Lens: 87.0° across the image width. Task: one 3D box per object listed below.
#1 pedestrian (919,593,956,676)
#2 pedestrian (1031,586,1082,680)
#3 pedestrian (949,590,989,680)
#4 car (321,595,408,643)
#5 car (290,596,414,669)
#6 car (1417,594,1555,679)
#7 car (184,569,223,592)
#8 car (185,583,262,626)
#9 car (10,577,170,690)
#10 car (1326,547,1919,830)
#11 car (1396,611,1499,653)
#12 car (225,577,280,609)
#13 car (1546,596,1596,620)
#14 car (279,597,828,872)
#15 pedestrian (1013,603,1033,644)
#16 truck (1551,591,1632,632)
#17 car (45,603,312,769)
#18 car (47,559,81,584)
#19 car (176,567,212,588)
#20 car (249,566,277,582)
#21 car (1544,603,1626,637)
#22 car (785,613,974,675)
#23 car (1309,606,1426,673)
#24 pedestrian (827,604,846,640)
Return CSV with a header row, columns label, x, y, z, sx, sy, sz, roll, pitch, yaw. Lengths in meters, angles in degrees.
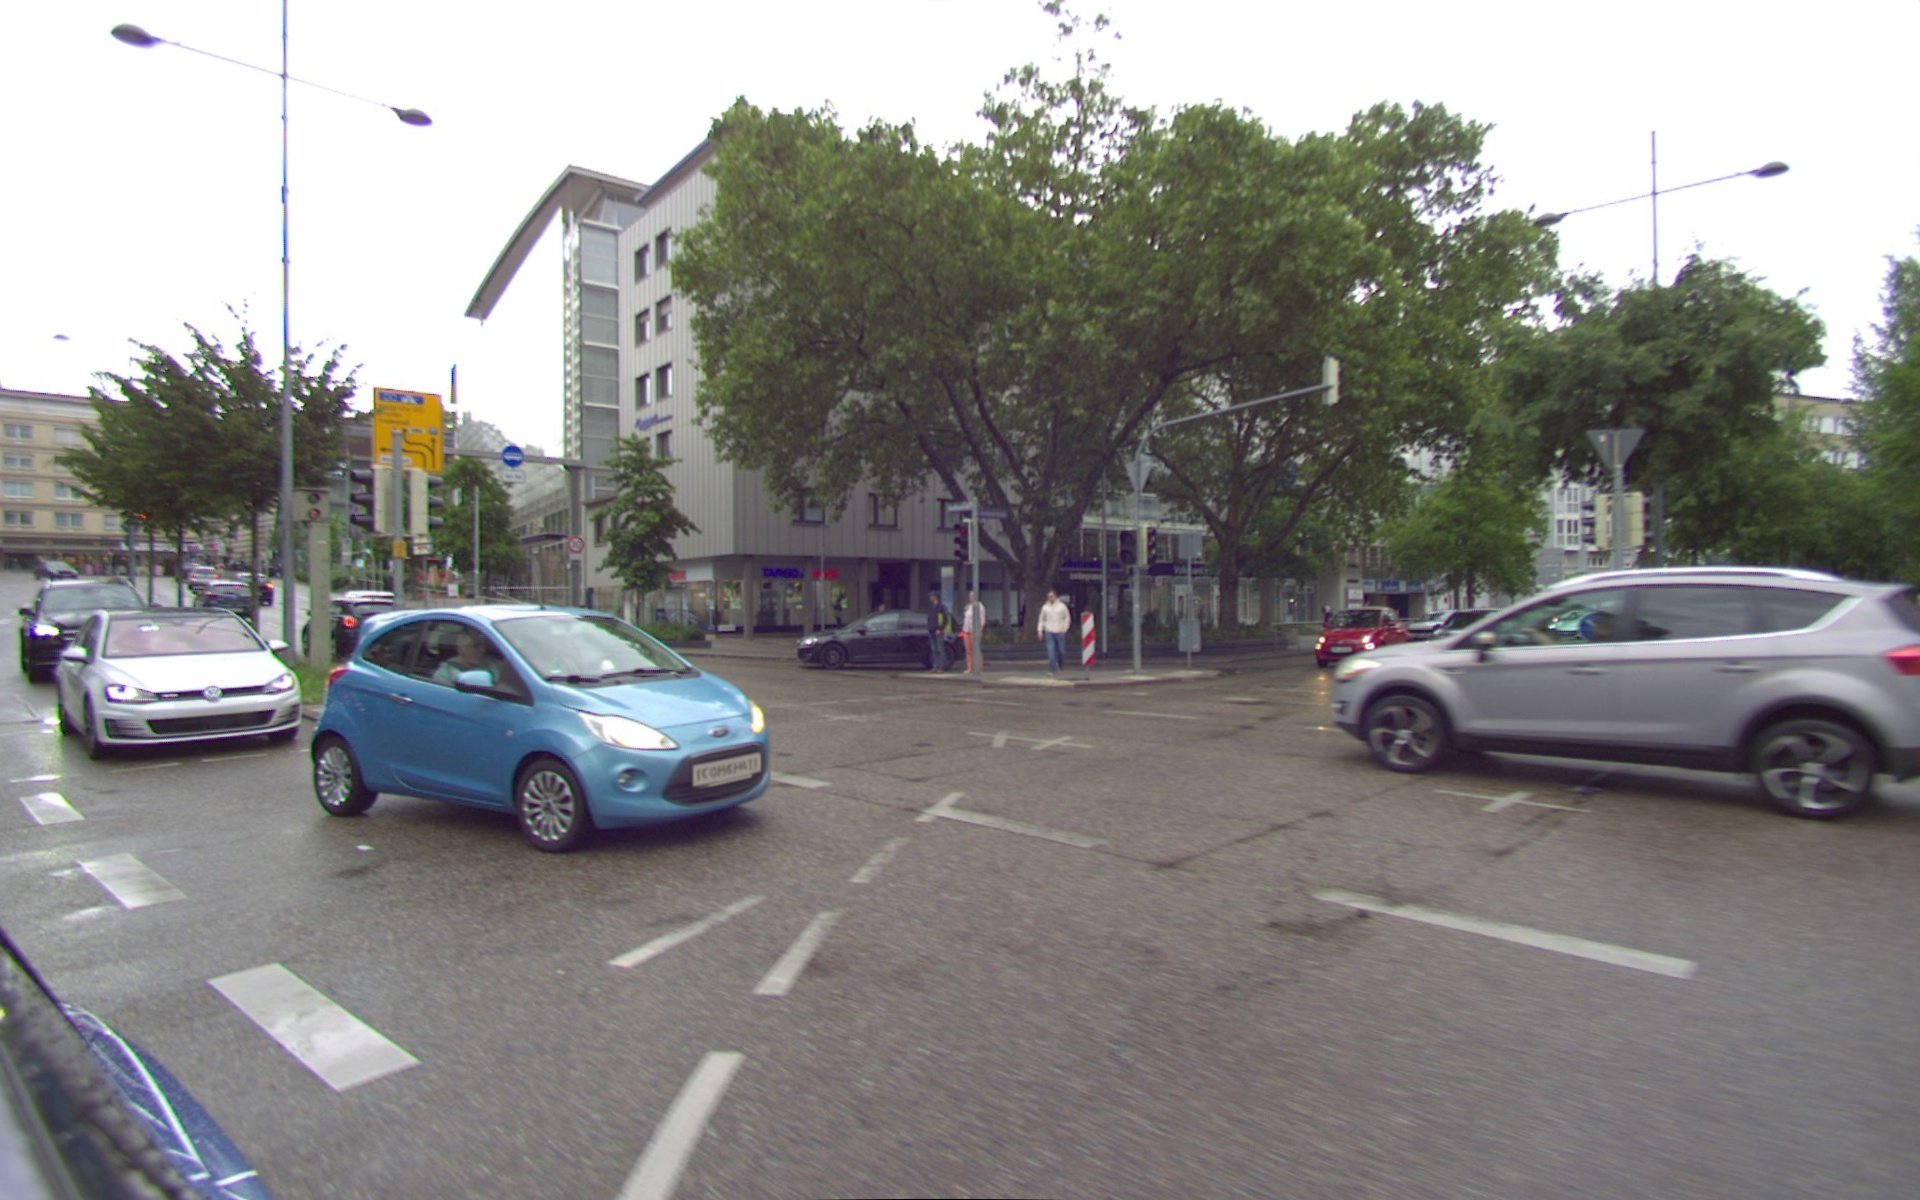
label,x,y,z,sx,sy,sz,roll,pitch,yaw
pedestrian,-0.499,0.754,22.074,0.677,1.777,0.406,-3,-2,44
pedestrian,2.029,0.681,21.211,0.821,1.921,0.855,-1,0,22
pedestrian,0.187,0.719,21.351,0.676,1.851,0.442,3,2,41
car,-19.902,0.626,33.763,1.652,1.527,3.646,2,-1,-44
car,-14.159,0.721,23.503,3.660,1.567,1.604,-1,-1,44
car,11.608,0.779,22.249,3.548,1.709,1.638,1,-2,-44
car,-50.054,-1.307,66.909,1.606,1.448,3.650,1,2,-44
car,-27.554,0.146,37.826,1.693,1.490,3.960,3,-1,-45
car,-17.041,0.520,19.725,1.971,1.790,4.889,-3,4,-45
car,5.406,0.575,8.086,4.312,1.749,1.806,-1,-1,45
car,18.261,1.152,37.866,3.935,1.475,1.868,0,-1,-37
car,-35.410,-0.322,50.636,1.599,1.503,3.882,3,-2,-45
car,51.640,0.675,85.552,3.745,1.762,1.923,-3,4,-28
car,-2.913,0.754,7.134,3.674,1.485,1.684,-1,-1,29
pedestrian,2.187,0.817,35.112,0.540,1.417,0.527,1,-2,-22
truck,34.955,0.607,55.931,6.602,2.171,2.003,0,-1,-42
car,-8.788,0.791,11.257,4.001,1.420,1.746,1,2,44
car,-68.354,-2.199,77.178,1.805,1.749,4.005,1,1,-43
car,-59.912,-1.794,79.140,1.969,1.520,4.192,0,2,-41
car,-91.280,-3.380,132.551,3.997,2.028,1.974,2,4,40
car,29.284,0.912,47.409,3.935,1.567,1.962,0,-1,-37
car,-2.008,1.052,24.628,4.353,1.406,1.938,1,-1,-11
car,10.643,0.968,26.280,1.700,1.598,3.947,-2,-1,39
pedestrian,-5.733,1.016,47.117,0.613,1.669,0.634,0,2,-38
